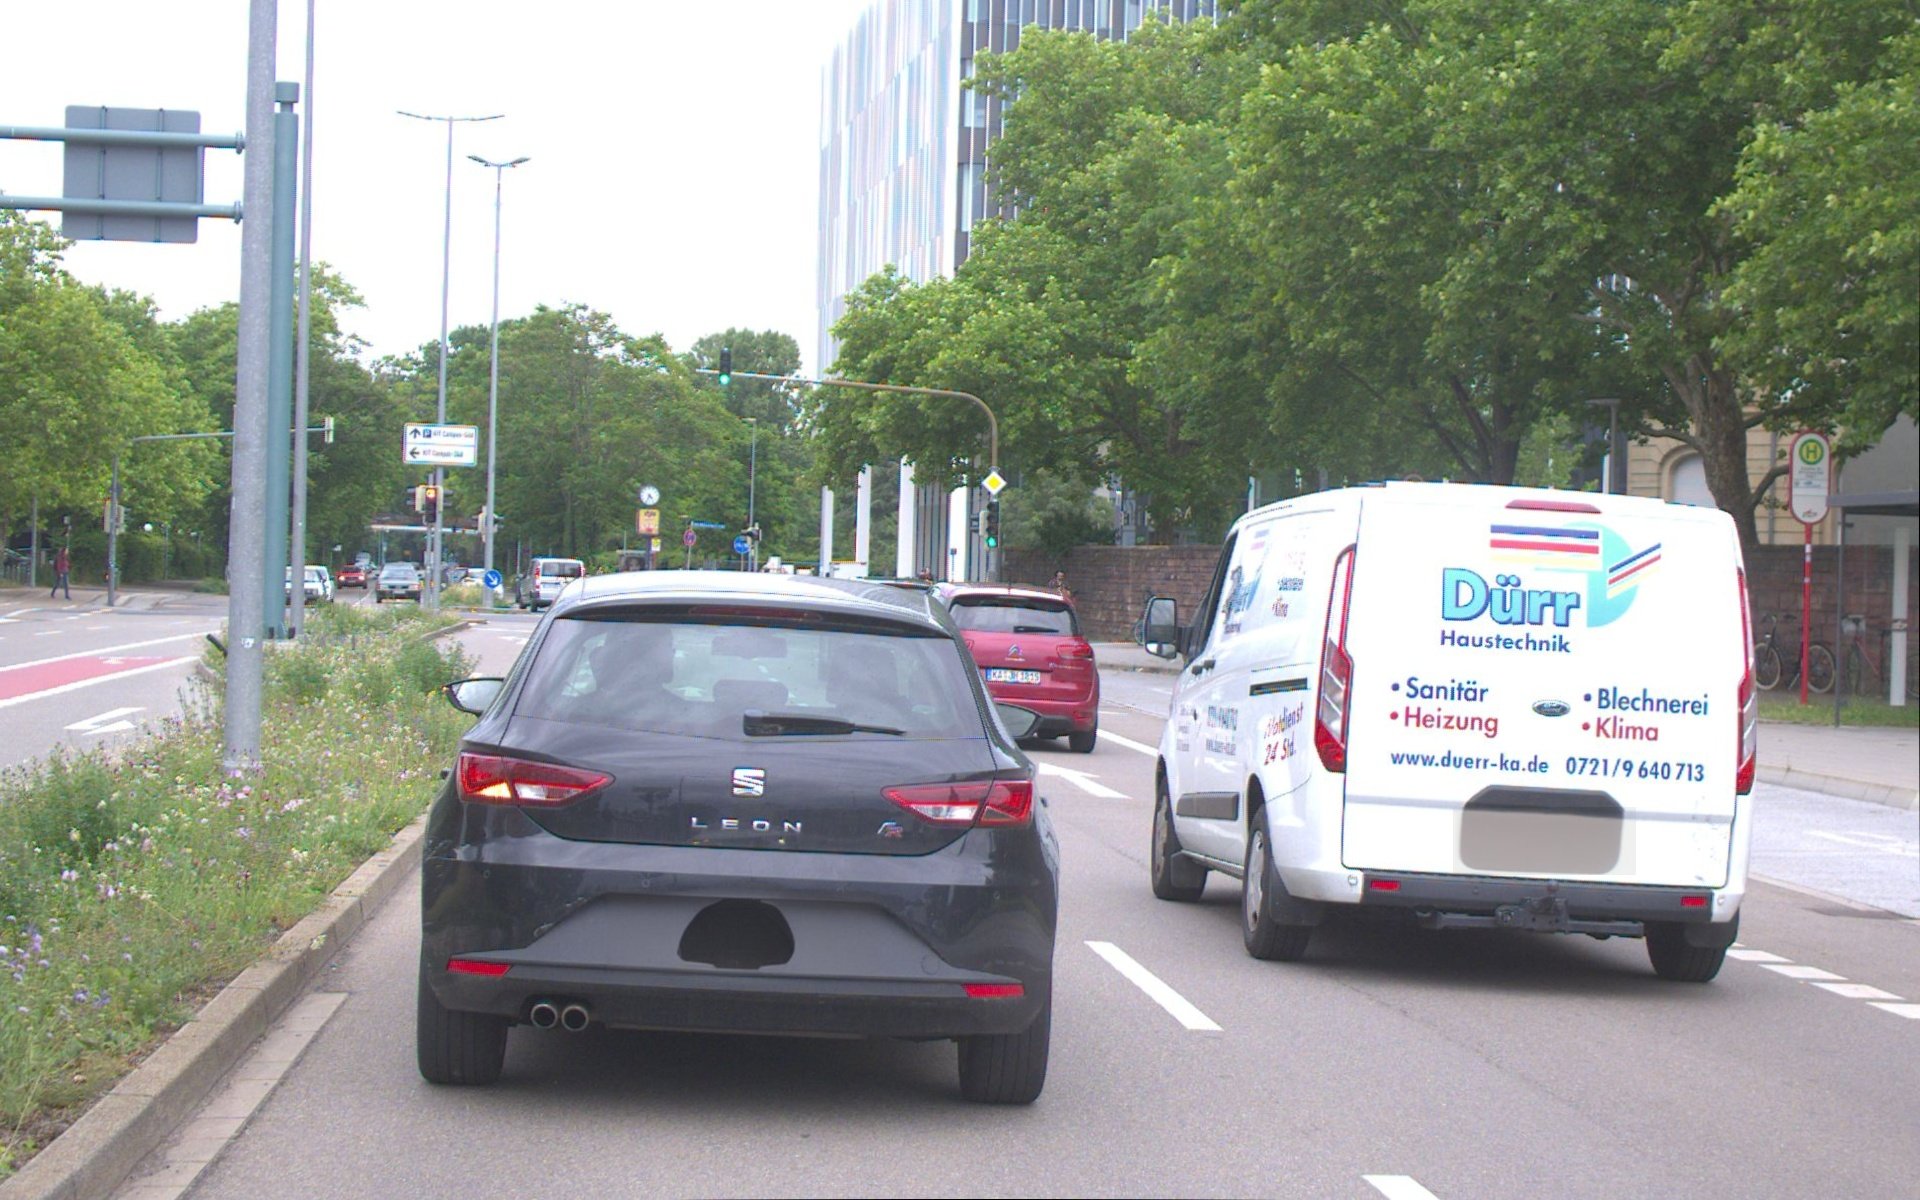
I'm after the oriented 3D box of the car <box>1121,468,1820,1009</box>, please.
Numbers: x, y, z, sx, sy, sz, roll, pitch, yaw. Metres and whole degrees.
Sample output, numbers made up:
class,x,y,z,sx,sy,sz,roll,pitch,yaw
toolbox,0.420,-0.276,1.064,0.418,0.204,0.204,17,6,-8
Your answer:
class,x,y,z,sx,sy,sz,roll,pitch,yaw
car,2.063,0.514,15.304,1.966,1.965,4.344,3,0,-6

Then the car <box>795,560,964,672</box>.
class,x,y,z,sx,sy,sz,roll,pitch,yaw
car,-1.315,0.223,54.316,1.914,1.658,4.116,0,1,-12

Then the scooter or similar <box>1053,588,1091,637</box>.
class,x,y,z,sx,sy,sz,roll,pitch,yaw
scooter or similar,2.764,0.303,84.975,0.432,1.175,1.702,0,1,19

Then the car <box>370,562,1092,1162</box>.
class,x,y,z,sx,sy,sz,roll,pitch,yaw
car,-0.625,0.663,10.575,1.753,1.427,3.769,3,0,-1

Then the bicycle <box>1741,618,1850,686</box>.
class,x,y,z,sx,sy,sz,roll,pitch,yaw
bicycle,12.495,0.765,51.442,0.653,0.948,1.771,0,1,-23

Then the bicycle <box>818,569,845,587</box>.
class,x,y,z,sx,sy,sz,roll,pitch,yaw
bicycle,-6.559,-1.103,174.841,1.234,0.820,0.482,4,-1,-27

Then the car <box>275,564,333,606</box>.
class,x,y,z,sx,sy,sz,roll,pitch,yaw
car,-22.748,-0.538,119.376,1.607,1.376,3.809,0,1,-5

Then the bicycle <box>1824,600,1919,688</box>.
class,x,y,z,sx,sy,sz,roll,pitch,yaw
bicycle,13.226,0.621,49.764,0.499,1.217,1.627,0,1,-23

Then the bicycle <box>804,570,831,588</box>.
class,x,y,z,sx,sy,sz,roll,pitch,yaw
bicycle,-7.337,-1.090,177.085,1.258,0.845,0.482,4,-1,-27

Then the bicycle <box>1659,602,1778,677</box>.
class,x,y,z,sx,sy,sz,roll,pitch,yaw
bicycle,11.729,0.605,53.198,0.718,1.096,1.792,0,1,-34

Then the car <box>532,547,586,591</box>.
class,x,y,z,sx,sy,sz,roll,pitch,yaw
car,-13.916,-1.083,119.142,1.695,1.498,4.011,0,1,-9

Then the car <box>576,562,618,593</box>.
class,x,y,z,sx,sy,sz,roll,pitch,yaw
car,-14.444,-0.899,136.695,1.504,1.189,3.164,0,1,-9

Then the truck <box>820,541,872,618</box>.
class,x,y,z,sx,sy,sz,roll,pitch,yaw
truck,-3.381,-0.636,101.946,1.317,2.236,3.402,0,1,-5

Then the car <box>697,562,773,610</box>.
class,x,y,z,sx,sy,sz,roll,pitch,yaw
car,-6.639,-0.415,101.202,1.898,1.349,3.883,0,1,-9

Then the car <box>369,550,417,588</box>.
class,x,y,z,sx,sy,sz,roll,pitch,yaw
car,-22.232,-1.203,134.608,1.763,1.455,4.793,0,0,-10

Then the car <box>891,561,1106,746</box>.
class,x,y,z,sx,sy,sz,roll,pitch,yaw
car,0.335,0.482,34.357,1.949,1.618,3.749,3,1,-1

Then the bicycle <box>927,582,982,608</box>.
class,x,y,z,sx,sy,sz,roll,pitch,yaw
bicycle,-0.193,-0.183,124.704,1.886,0.895,0.697,0,1,-26

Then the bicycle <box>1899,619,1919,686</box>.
class,x,y,z,sx,sy,sz,roll,pitch,yaw
bicycle,13.853,0.756,48.273,0.415,0.939,1.526,0,1,-23

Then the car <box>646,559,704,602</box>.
class,x,y,z,sx,sy,sz,roll,pitch,yaw
car,-9.448,-0.649,113.782,1.615,1.349,4.001,0,1,-9

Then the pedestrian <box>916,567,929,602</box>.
class,x,y,z,sx,sy,sz,roll,pitch,yaw
pedestrian,-1.514,-0.623,137.061,0.472,1.357,0.445,0,1,5

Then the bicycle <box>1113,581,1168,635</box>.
class,x,y,z,sx,sy,sz,roll,pitch,yaw
bicycle,4.086,0.171,78.075,0.803,1.170,1.955,-1,1,-10

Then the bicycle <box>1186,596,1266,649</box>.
class,x,y,z,sx,sy,sz,roll,pitch,yaw
bicycle,5.602,0.458,72.469,0.939,1.069,1.970,0,1,-20

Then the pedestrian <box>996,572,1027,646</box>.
class,x,y,z,sx,sy,sz,roll,pitch,yaw
pedestrian,1.215,0.207,80.604,0.456,1.733,0.556,-1,1,-44
